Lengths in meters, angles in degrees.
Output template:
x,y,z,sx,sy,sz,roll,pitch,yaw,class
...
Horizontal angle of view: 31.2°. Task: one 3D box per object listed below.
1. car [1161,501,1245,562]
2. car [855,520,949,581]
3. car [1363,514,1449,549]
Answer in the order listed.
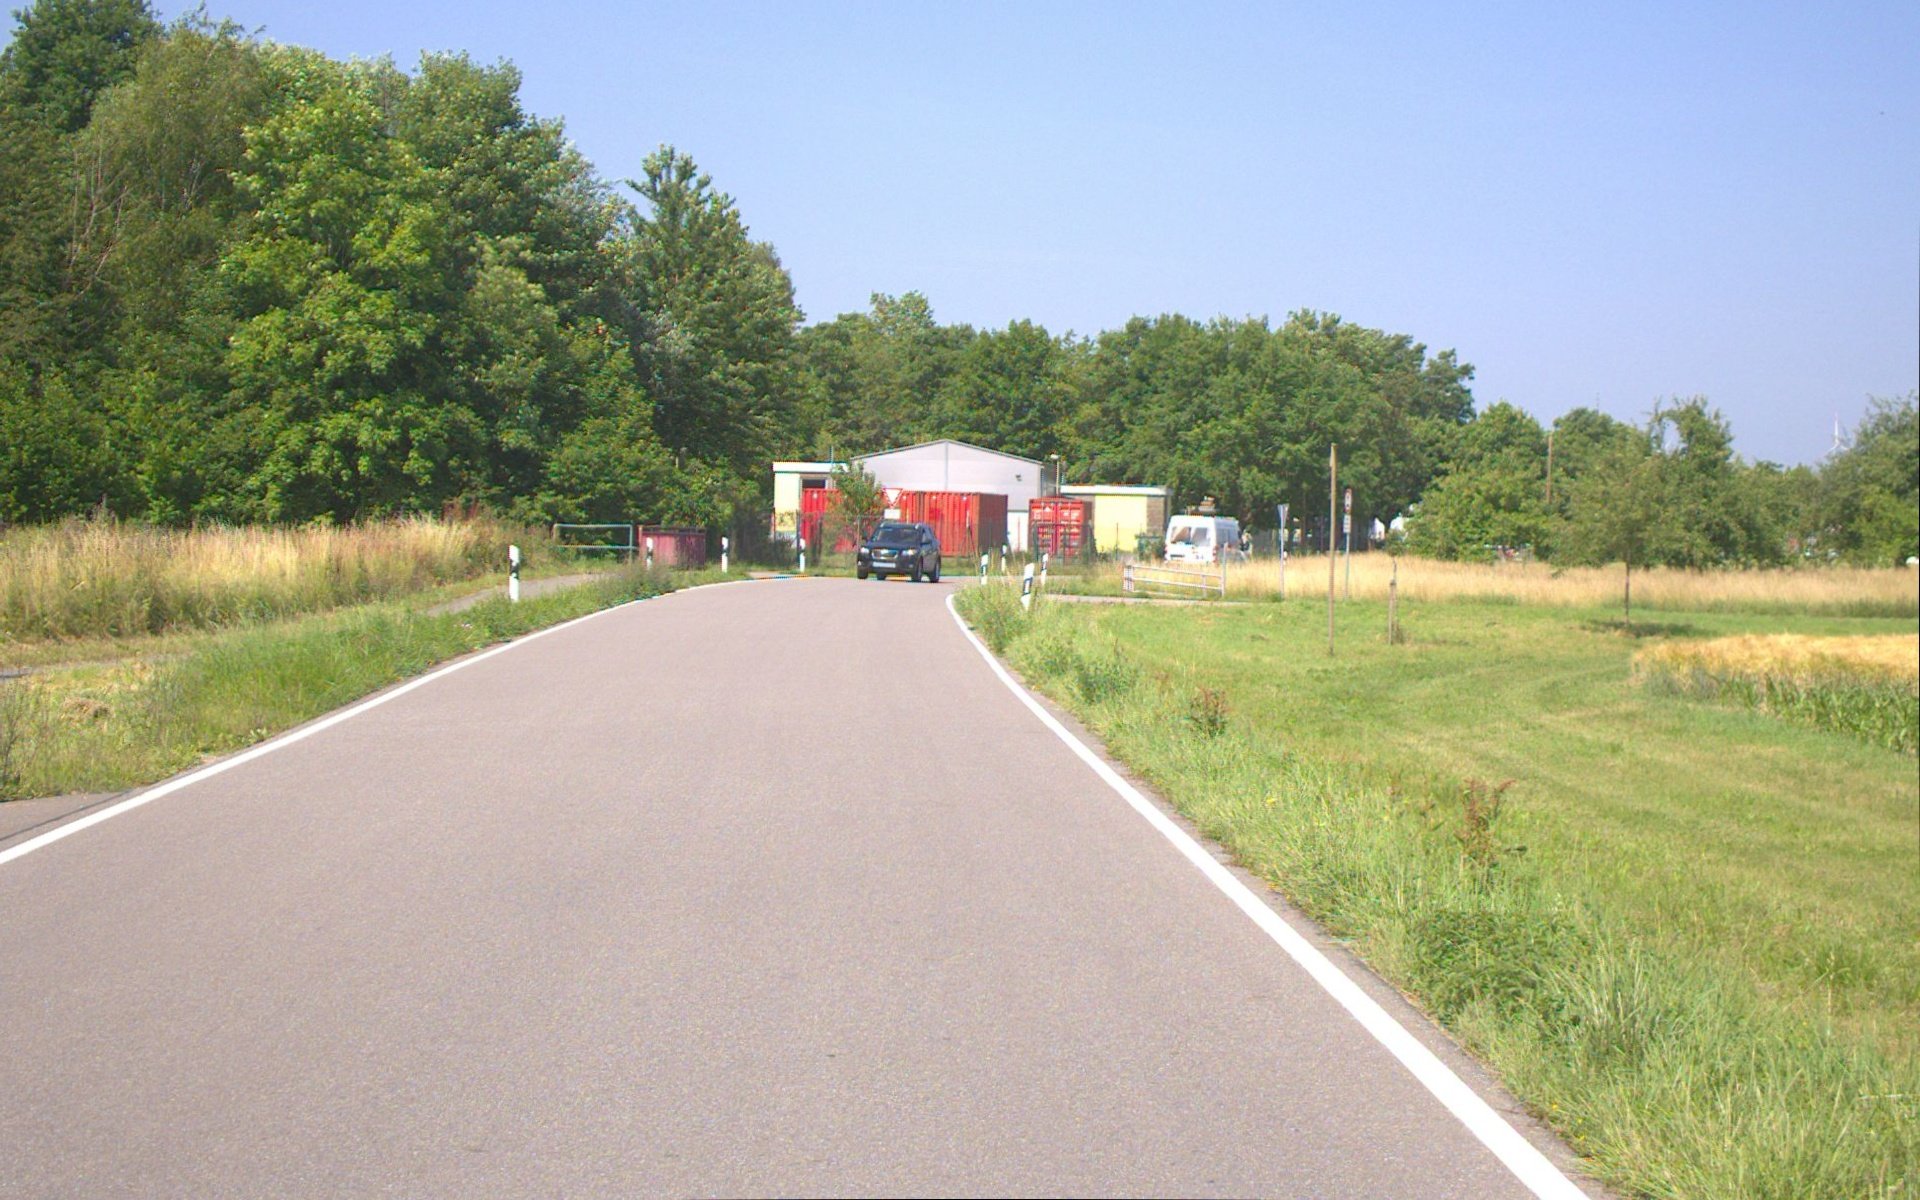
x,y,z,sx,sy,sz,roll,pitch,yaw,class
9.337,-2.618,131.925,1.995,2.258,4.721,2,1,19,car
-1.703,-1.479,102.487,1.866,1.747,4.295,1,1,12,car
31.085,-4.794,239.775,5.593,2.258,2.001,1,1,-19,car
